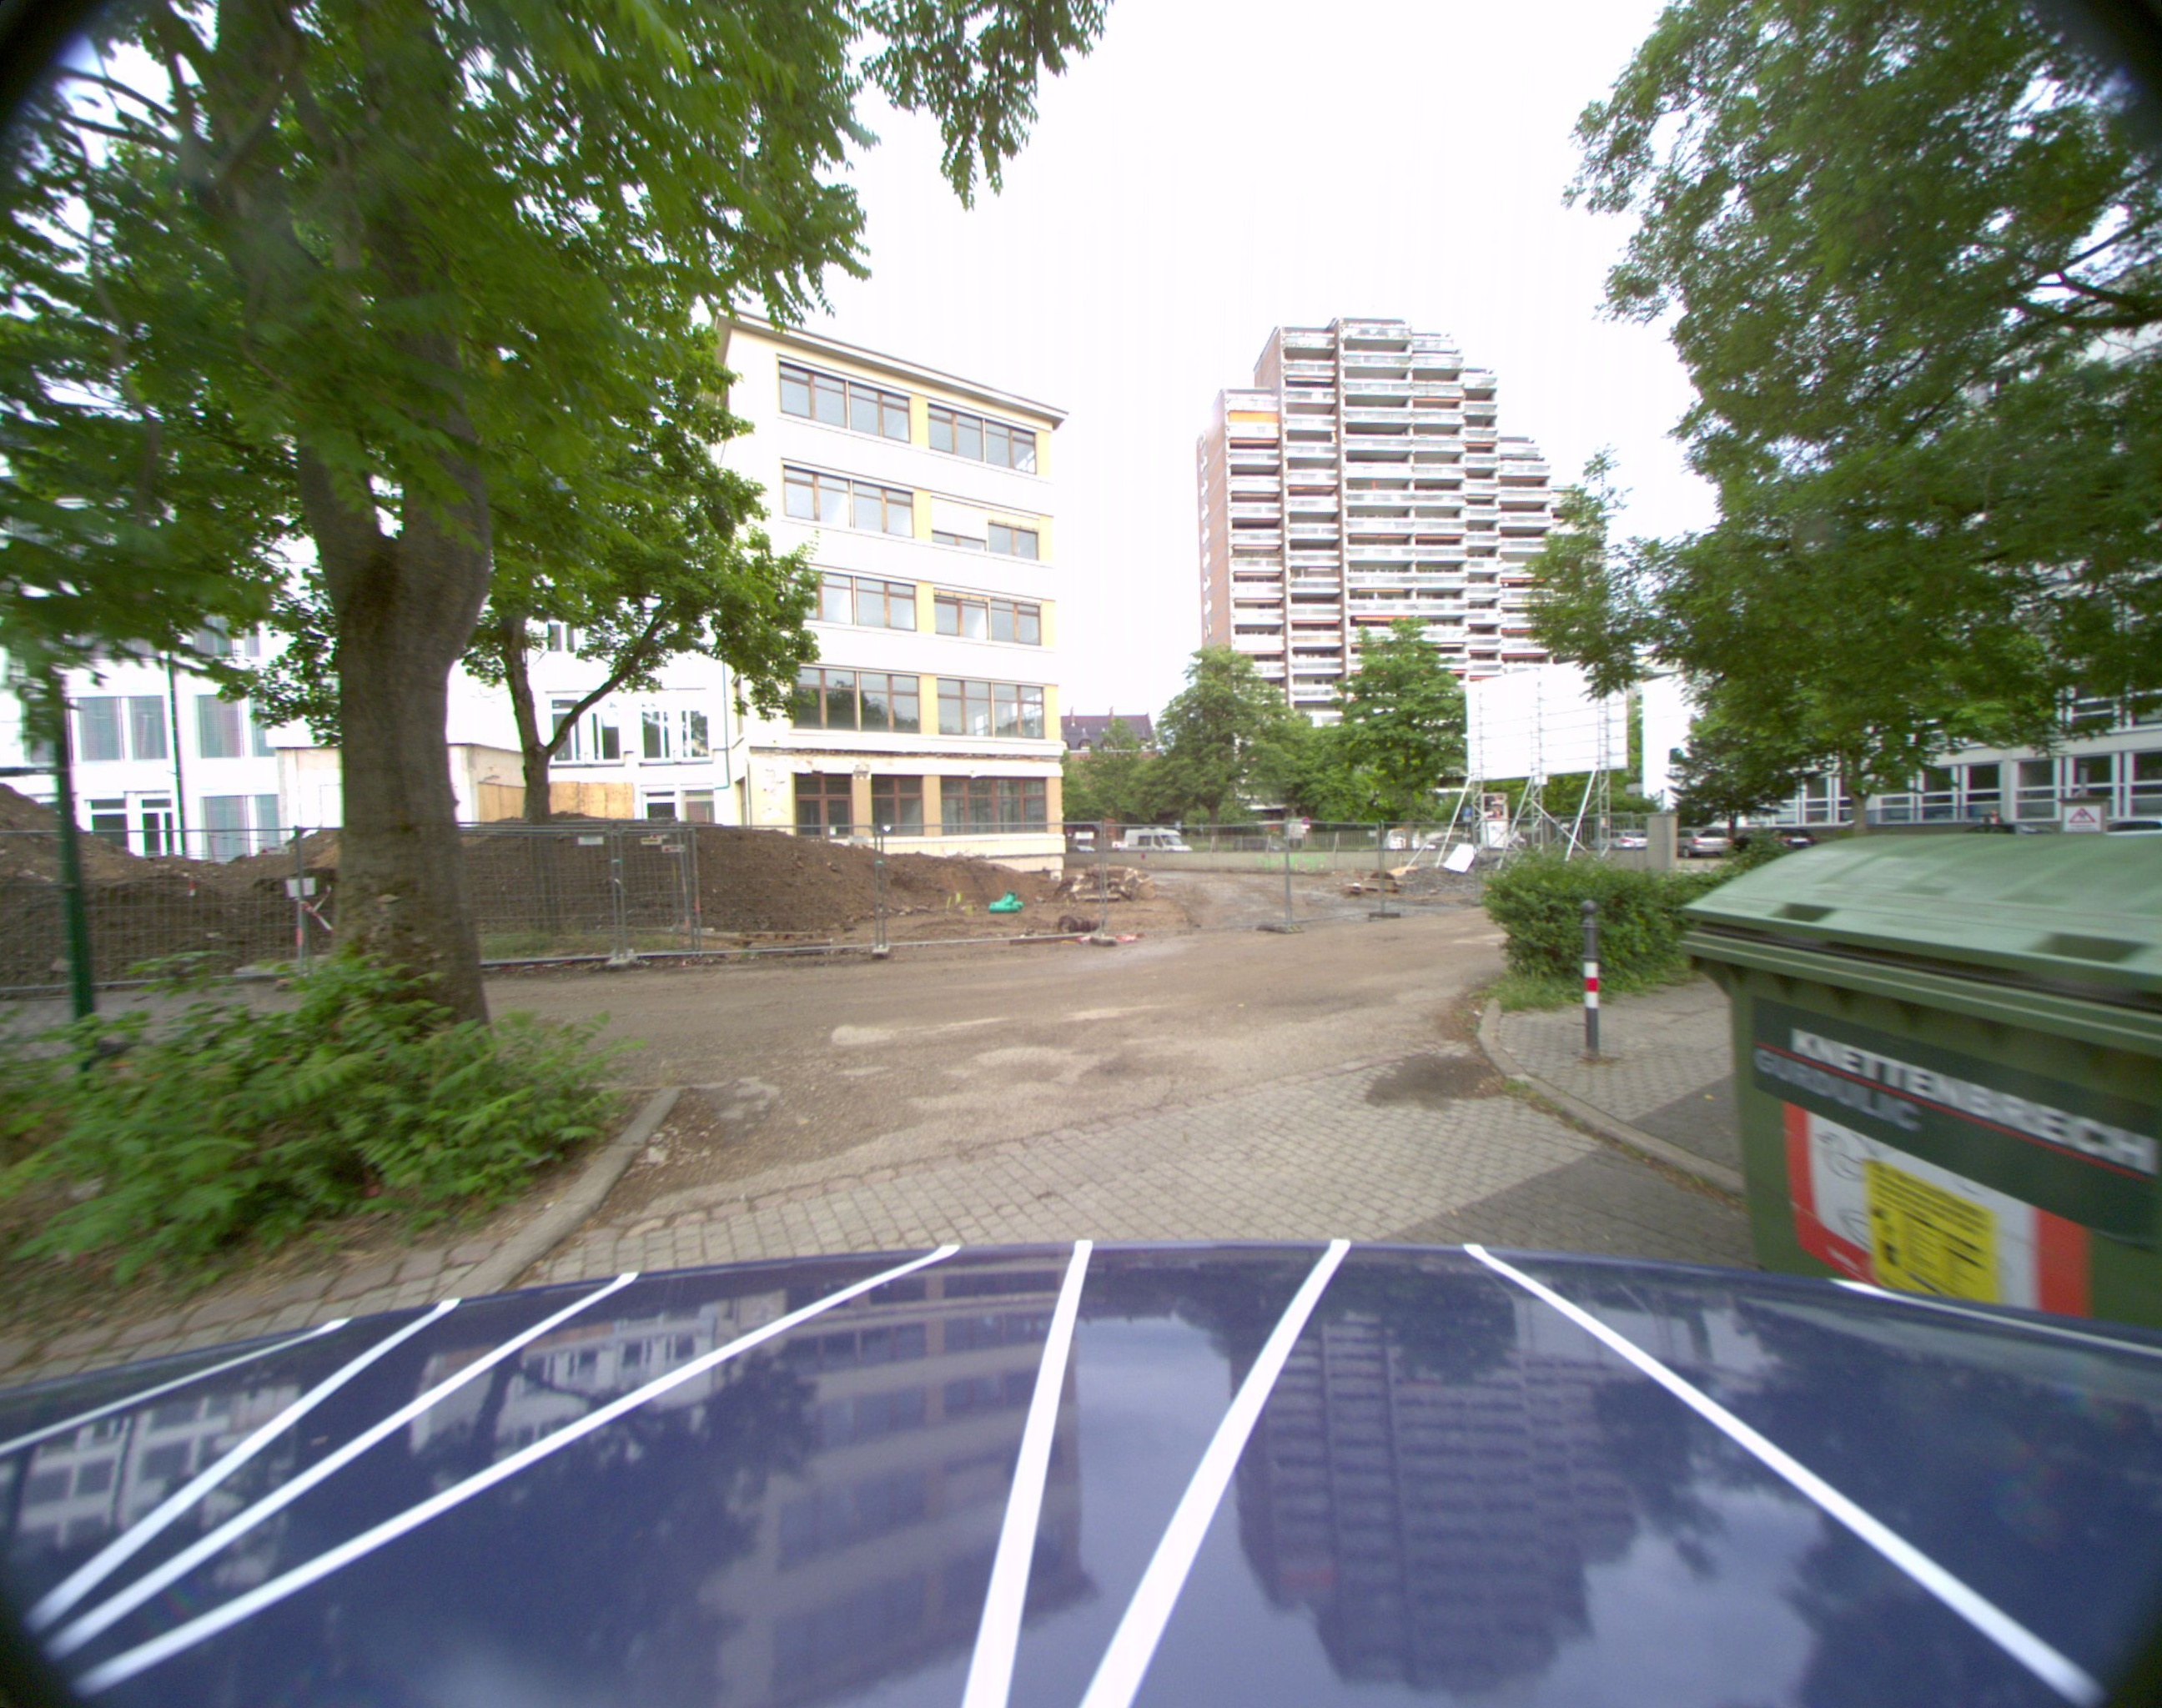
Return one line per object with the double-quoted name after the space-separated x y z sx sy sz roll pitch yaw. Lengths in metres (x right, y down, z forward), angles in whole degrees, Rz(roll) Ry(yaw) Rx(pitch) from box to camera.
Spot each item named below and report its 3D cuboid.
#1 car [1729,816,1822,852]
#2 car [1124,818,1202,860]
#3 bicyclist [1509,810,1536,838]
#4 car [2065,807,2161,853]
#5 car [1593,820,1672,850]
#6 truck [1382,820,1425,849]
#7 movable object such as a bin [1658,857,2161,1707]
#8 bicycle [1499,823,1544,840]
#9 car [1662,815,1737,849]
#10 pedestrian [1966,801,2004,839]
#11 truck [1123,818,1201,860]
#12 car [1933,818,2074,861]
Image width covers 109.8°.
32.275 -0.963 35.452 1.697 1.516 3.708 -2 2 15 "car"
5.339 -0.961 50.148 2.122 2.588 5.478 -4 2 -31 "car"
24.154 -1.657 41.586 0.847 1.492 1.024 -3 2 -34 "bicyclist"
37.855 -0.906 27.002 1.696 1.476 4.033 -2 2 21 "car"
29.590 -1.070 40.944 1.800 1.457 4.434 -2 2 12 "car"
22.367 -1.408 52.848 1.996 1.838 5.068 -2 2 15 "truck"
2.177 0.776 1.496 1.055 1.442 1.354 -2 3 0 "movable object such as a bin"
24.113 -1.220 41.636 0.471 0.864 2.133 -3 2 -34 "bicycle"
30.843 -1.135 37.998 1.570 1.516 3.654 -2 2 15 "car"
39.068 -1.465 32.832 0.734 1.603 0.754 -3 4 -10 "pedestrian"
5.279 -0.961 50.249 2.122 2.588 5.478 -4 2 -31 "truck"
36.291 -0.617 30.037 1.697 1.516 3.708 -2 2 15 "car"
